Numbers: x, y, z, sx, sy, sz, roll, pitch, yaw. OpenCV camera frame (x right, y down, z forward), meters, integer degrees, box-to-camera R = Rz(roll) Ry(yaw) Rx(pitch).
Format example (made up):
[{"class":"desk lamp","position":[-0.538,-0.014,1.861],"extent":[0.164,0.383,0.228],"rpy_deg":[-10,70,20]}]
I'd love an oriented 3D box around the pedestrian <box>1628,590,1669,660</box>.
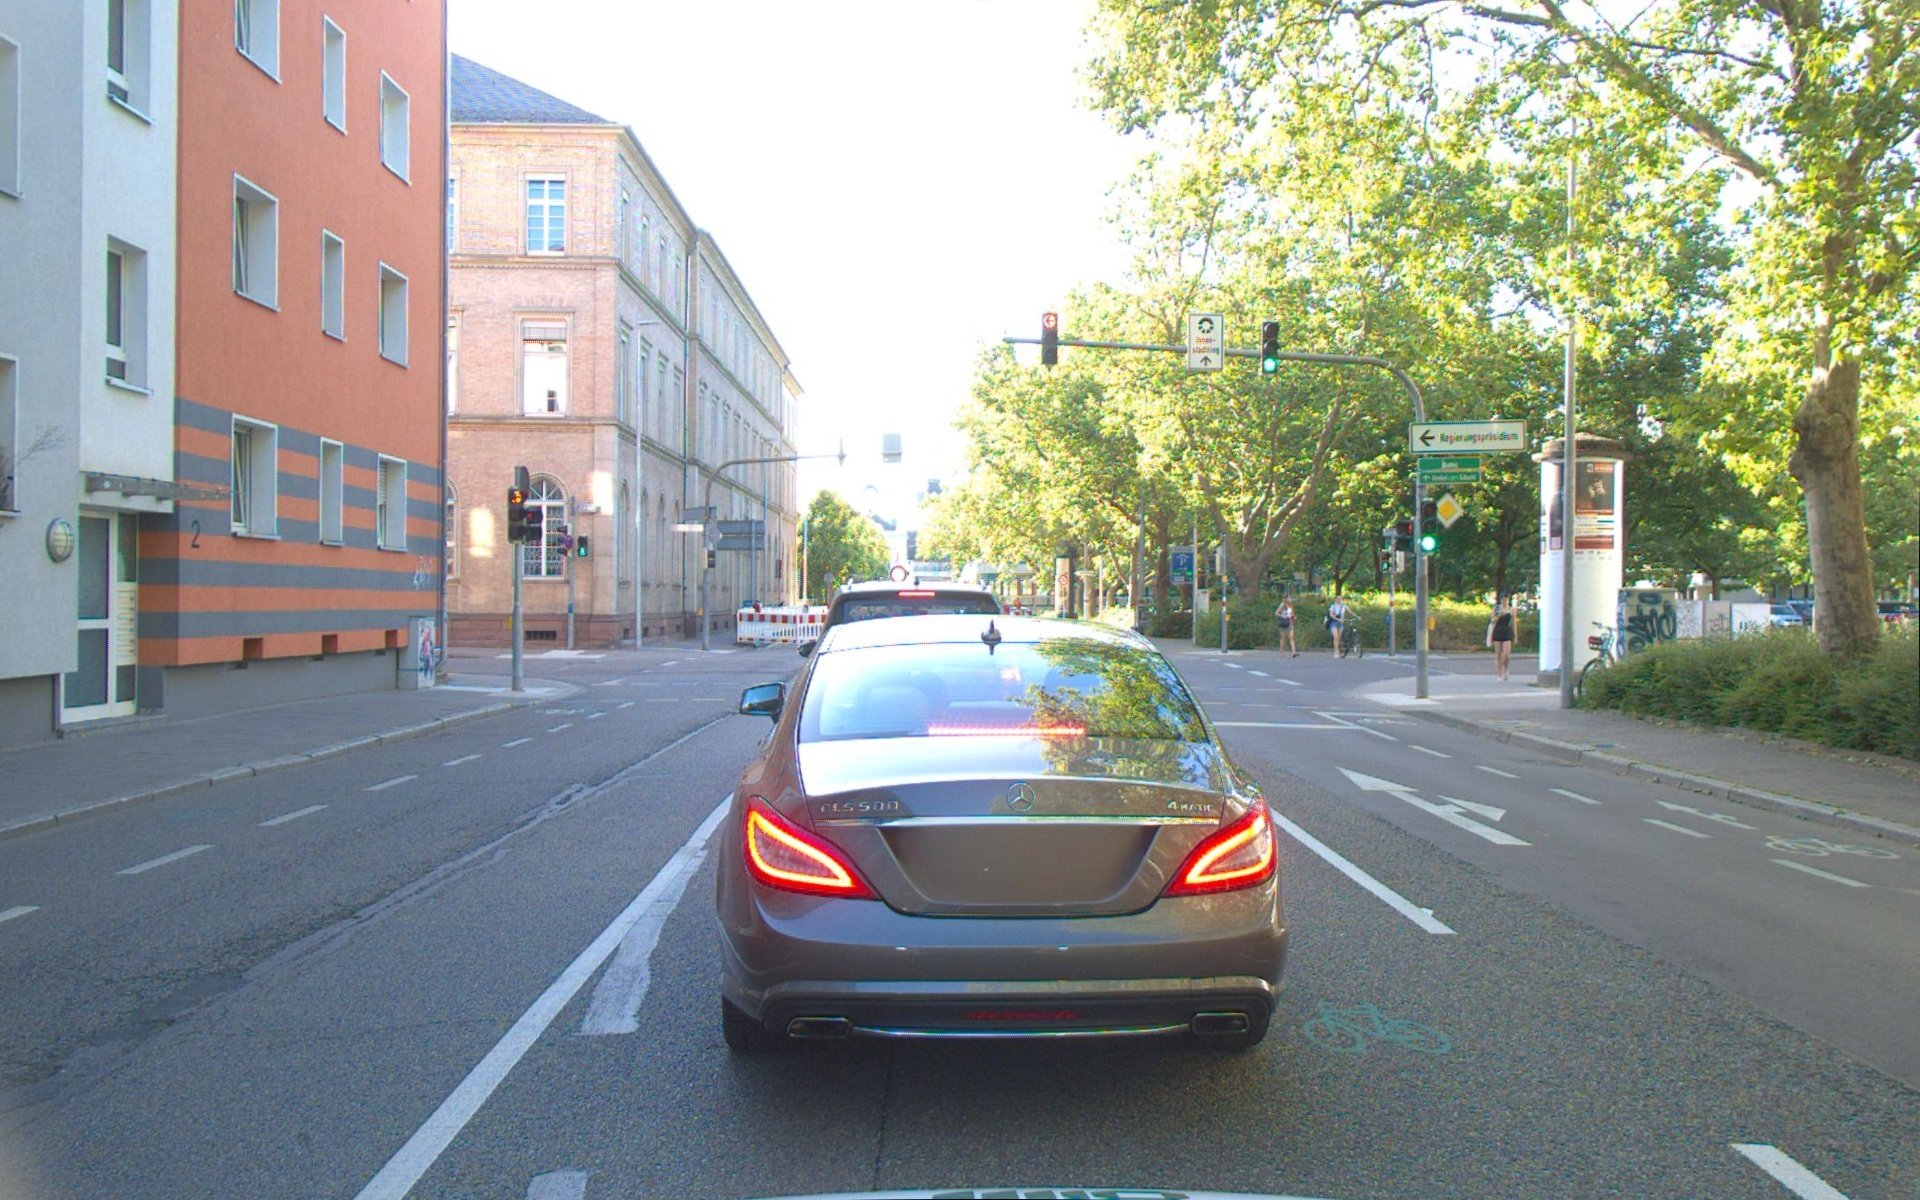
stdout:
[{"class":"pedestrian","position":[18.545,0.676,44.547],"extent":[0.765,1.867,0.685],"rpy_deg":[1,-1,-8]}]

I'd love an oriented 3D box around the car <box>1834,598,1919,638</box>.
[{"class":"car","position":[36.272,0.686,65.166],"extent":[1.596,1.508,3.794],"rpy_deg":[1,0,-2]}]

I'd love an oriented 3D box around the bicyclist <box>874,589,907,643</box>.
[{"class":"bicyclist","position":[-2.069,0.486,49.320],"extent":[0.794,1.586,0.645],"rpy_deg":[1,-1,-25]}]

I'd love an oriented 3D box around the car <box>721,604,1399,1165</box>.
[{"class":"car","position":[0.060,0.760,6.647],"extent":[1.807,1.454,4.511],"rpy_deg":[1,0,-6]}]

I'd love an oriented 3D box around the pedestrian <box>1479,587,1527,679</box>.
[{"class":"pedestrian","position":[9.953,0.599,30.333],"extent":[0.781,1.659,0.908],"rpy_deg":[1,-1,16]}]

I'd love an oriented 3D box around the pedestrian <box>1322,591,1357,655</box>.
[{"class":"pedestrian","position":[10.468,0.626,45.691],"extent":[0.670,1.727,0.970],"rpy_deg":[1,0,-5]}]

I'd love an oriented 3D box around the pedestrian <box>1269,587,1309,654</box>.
[{"class":"pedestrian","position":[9.084,0.567,45.655],"extent":[0.720,1.840,0.905],"rpy_deg":[0,-1,-16]}]

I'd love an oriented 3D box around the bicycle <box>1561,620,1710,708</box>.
[{"class":"bicycle","position":[9.703,0.910,23.778],"extent":[1.936,1.210,0.528],"rpy_deg":[1,-1,-2]}]

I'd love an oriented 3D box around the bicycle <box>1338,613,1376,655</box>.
[{"class":"bicycle","position":[10.932,0.918,45.571],"extent":[0.514,1.119,1.740],"rpy_deg":[1,0,-4]}]

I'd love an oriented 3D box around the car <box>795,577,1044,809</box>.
[{"class":"car","position":[-0.260,0.668,13.738],"extent":[1.772,1.641,4.000],"rpy_deg":[0,0,1]}]
